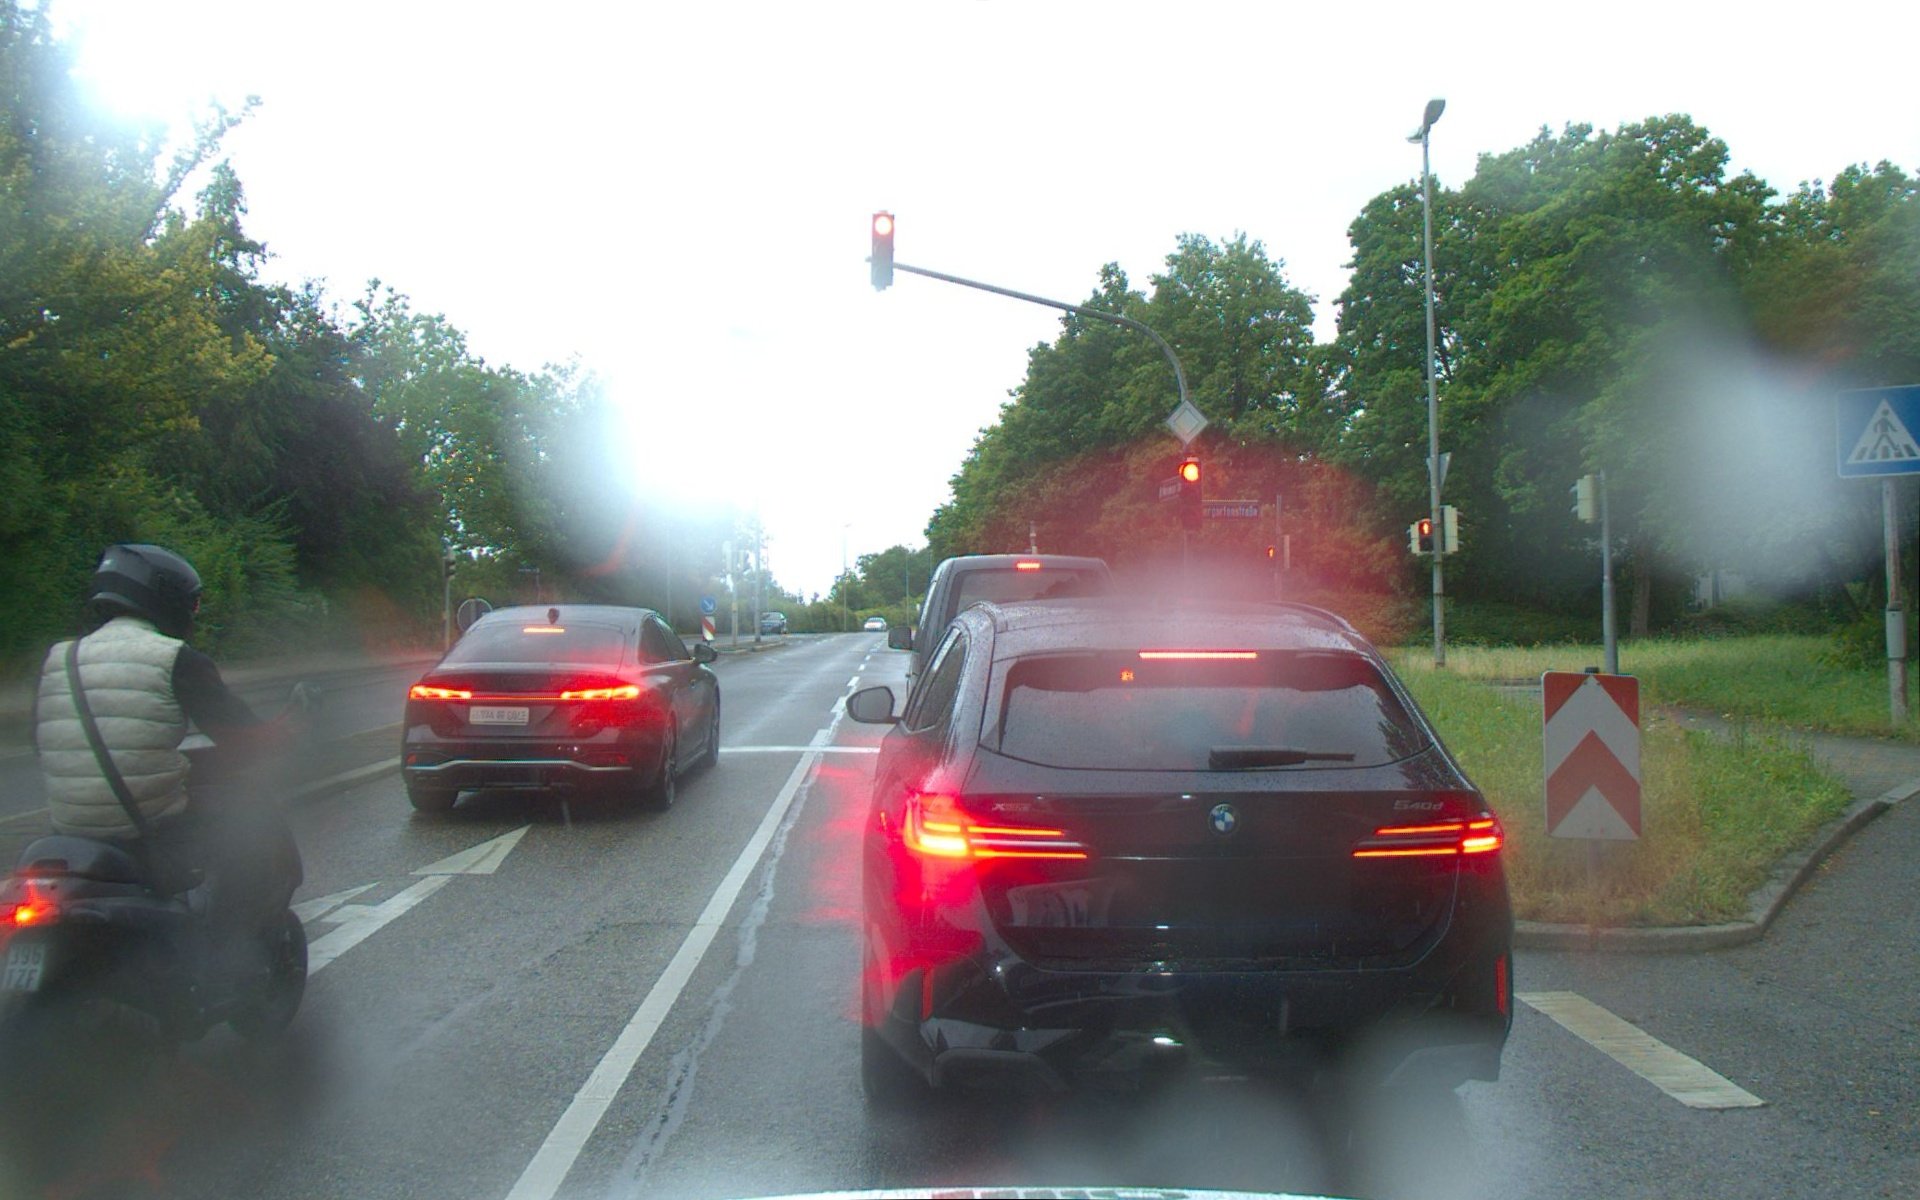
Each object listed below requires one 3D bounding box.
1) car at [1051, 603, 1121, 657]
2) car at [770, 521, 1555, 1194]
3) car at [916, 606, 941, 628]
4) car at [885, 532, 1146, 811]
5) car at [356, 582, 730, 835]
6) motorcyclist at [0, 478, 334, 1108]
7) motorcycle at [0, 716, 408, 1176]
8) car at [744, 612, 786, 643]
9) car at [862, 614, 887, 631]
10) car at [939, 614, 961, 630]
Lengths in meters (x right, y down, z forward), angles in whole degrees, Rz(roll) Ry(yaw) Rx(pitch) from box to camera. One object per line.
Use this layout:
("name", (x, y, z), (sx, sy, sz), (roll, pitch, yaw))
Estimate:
("car", (3.962, 0.917, 52.457), (1.835, 1.569, 3.952), (-2, 0, 0))
("car", (0.522, 0.647, 6.244), (1.859, 1.578, 4.615), (1, -1, 1))
("car", (-2.187, 1.199, 116.098), (1.663, 1.452, 3.513), (-2, 0, 0))
("car", (0.374, 0.505, 13.341), (1.781, 1.901, 3.952), (0, 0, 0))
("car", (-3.002, 0.718, 12.905), (1.954, 1.554, 4.325), (-2, 0, -3))
("motorcyclist", (-2.322, 0.519, 4.778), (0.749, 1.671, 0.674), (-1, -1, -2))
("motorcycle", (-2.317, 0.938, 5.062), (0.677, 1.071, 1.747), (-2, -2, -1))
("car", (-12.471, 1.768, 106.187), (1.952, 1.858, 4.001), (-2, -1, 3))
("car", (-8.494, 2.250, 164.436), (1.951, 1.639, 3.674), (-2, -1, 6))
("car", (-1.218, 2.602, 199.965), (2.061, 1.795, 4.871), (-2, -1, 6))
